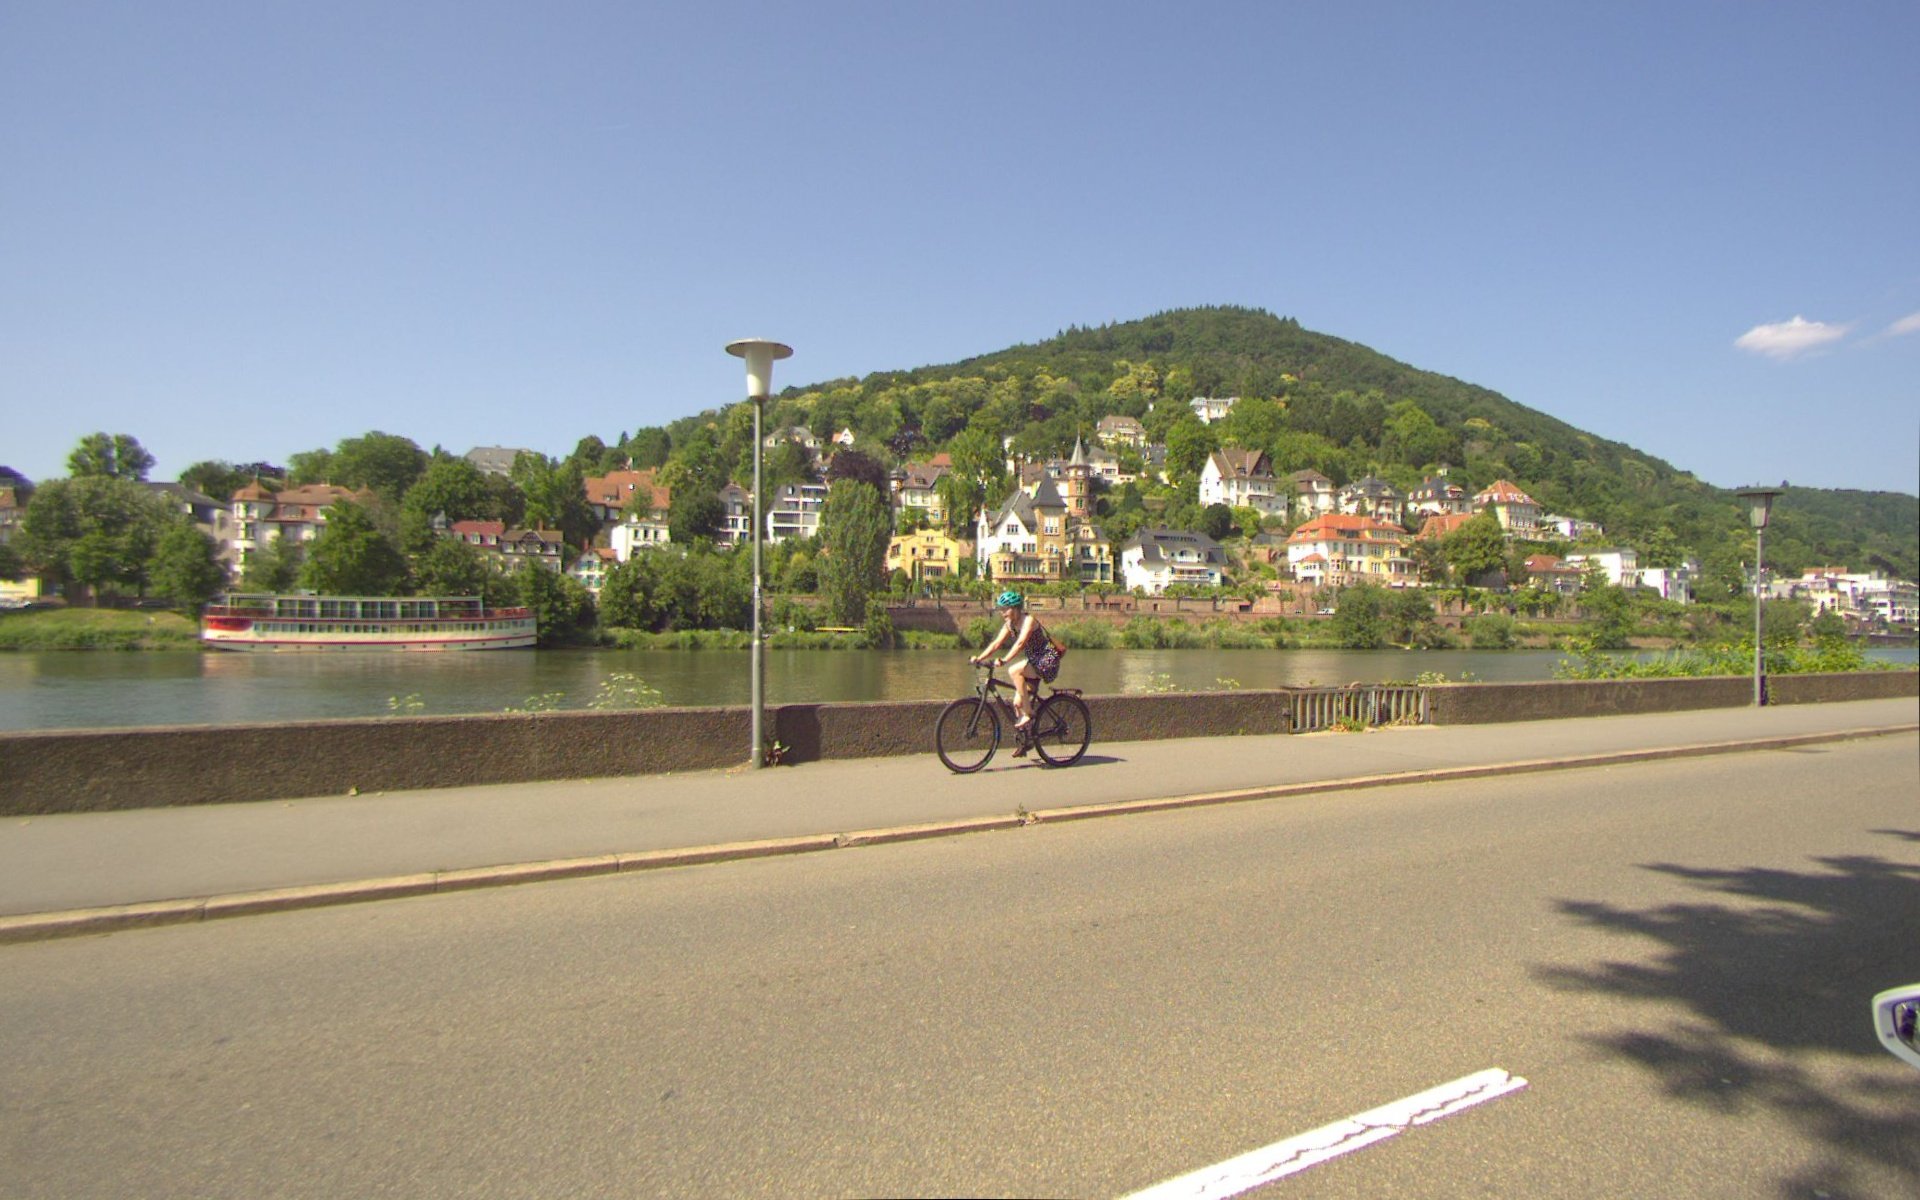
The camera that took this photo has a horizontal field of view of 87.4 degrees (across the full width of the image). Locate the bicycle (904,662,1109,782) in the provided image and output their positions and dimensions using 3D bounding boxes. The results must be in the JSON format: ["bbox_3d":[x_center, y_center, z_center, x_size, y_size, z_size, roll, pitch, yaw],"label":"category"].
[{"bbox_3d":[0.477,1.133,9.690,1.963,1.025,0.629,1,-2,-31],"label":"bicycle"}]

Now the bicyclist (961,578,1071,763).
[{"bbox_3d":[0.541,0.667,9.735,0.861,1.695,0.634,1,-2,-31],"label":"bicyclist"}]
